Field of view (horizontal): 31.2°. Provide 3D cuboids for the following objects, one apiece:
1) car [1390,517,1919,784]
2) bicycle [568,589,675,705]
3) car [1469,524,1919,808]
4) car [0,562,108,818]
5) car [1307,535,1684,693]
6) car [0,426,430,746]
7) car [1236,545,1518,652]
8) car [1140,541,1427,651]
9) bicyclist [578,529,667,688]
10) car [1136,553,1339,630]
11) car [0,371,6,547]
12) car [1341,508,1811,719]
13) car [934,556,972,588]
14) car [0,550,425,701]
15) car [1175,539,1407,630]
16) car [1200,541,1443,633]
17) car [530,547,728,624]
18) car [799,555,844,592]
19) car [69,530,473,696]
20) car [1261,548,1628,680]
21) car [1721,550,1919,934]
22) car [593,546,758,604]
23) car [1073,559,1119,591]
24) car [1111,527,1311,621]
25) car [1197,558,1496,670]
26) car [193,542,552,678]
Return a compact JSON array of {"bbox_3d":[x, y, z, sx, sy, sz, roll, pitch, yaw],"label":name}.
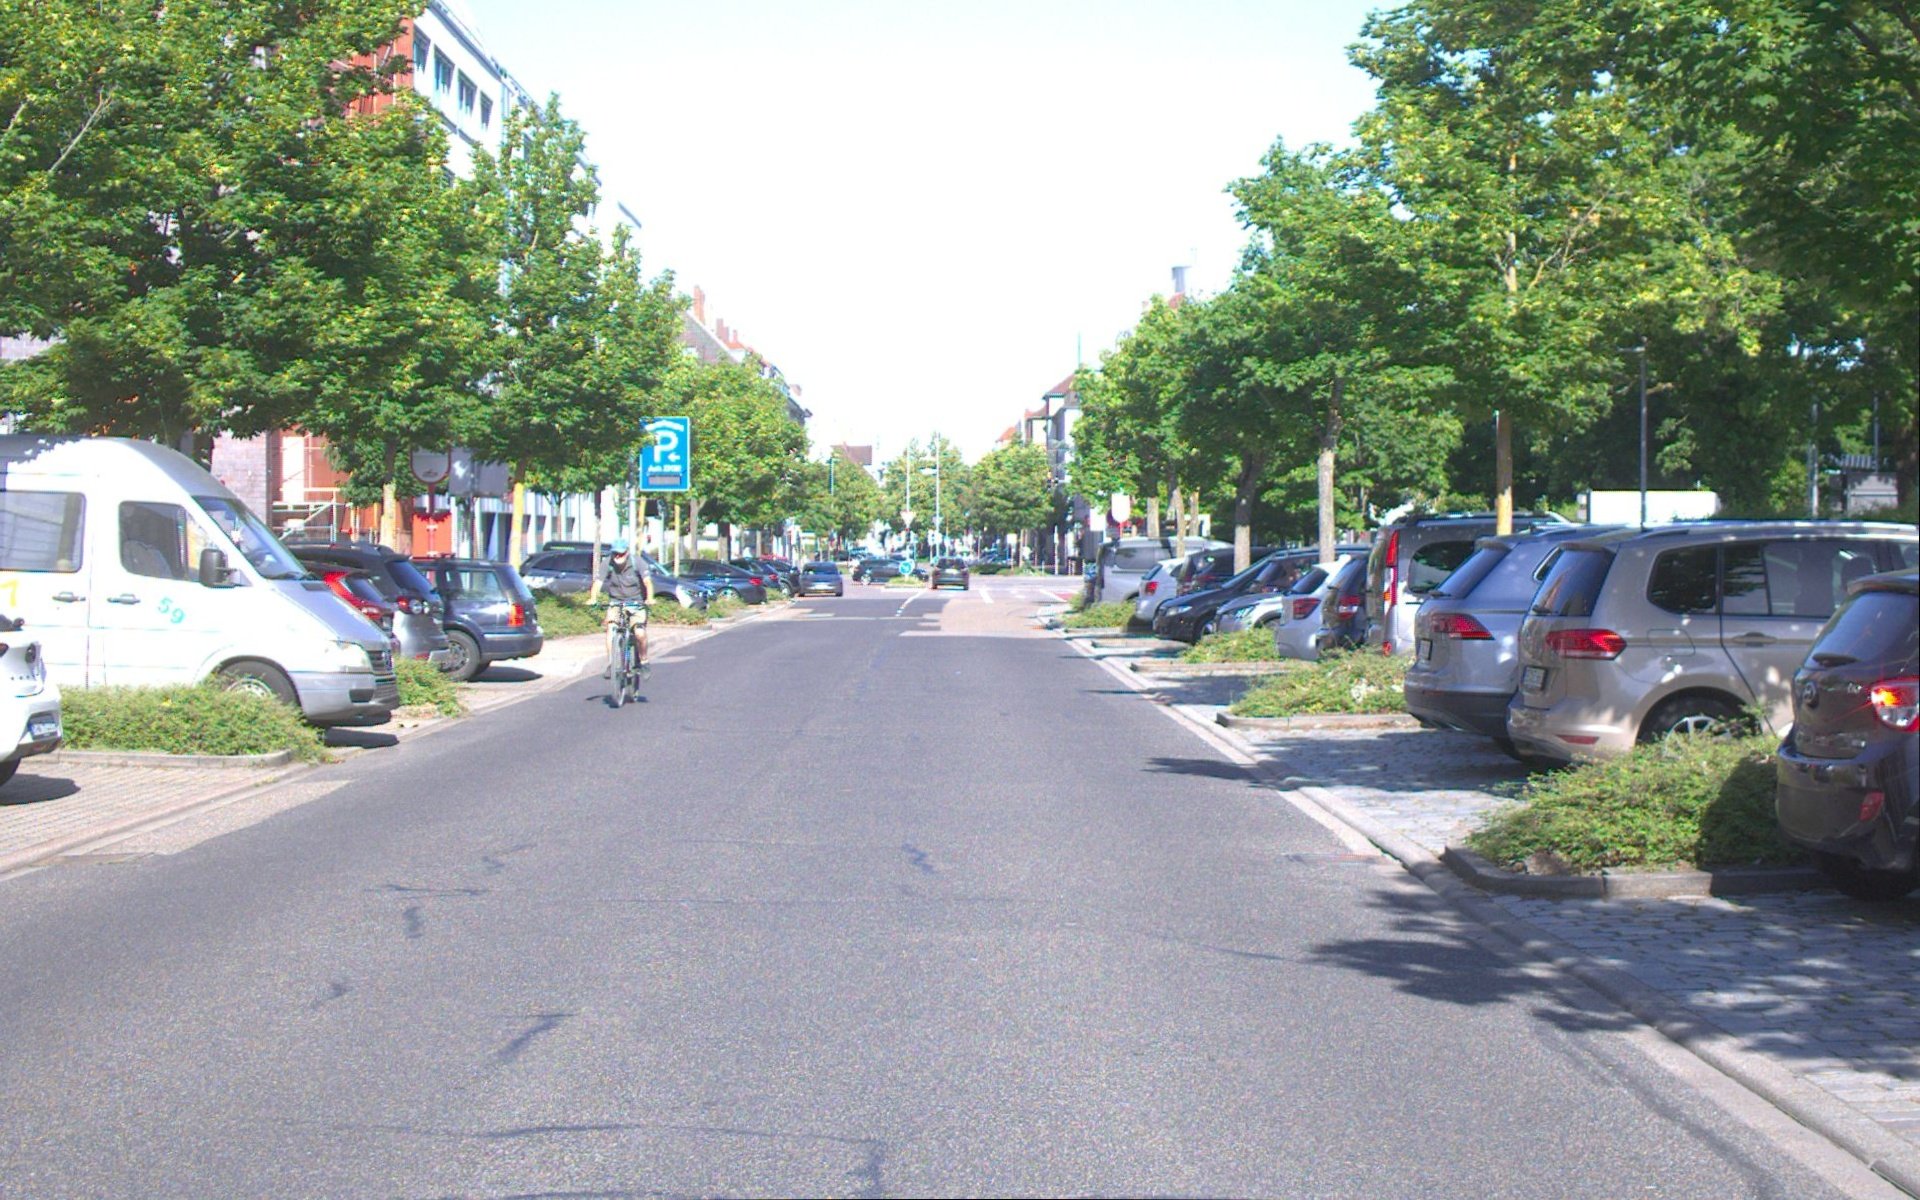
[{"bbox_3d":[5.012,0.304,23.319,3.899,1.689,1.941,0,2,-2],"label":"car"},{"bbox_3d":[-3.416,0.456,34.867,0.698,1.107,2.079,-1,1,5],"label":"bicycle"},{"bbox_3d":[5.429,0.350,20.837,4.319,1.602,1.912,-1,1,-3],"label":"car"},{"bbox_3d":[-7.402,0.467,21.097,3.830,1.467,1.848,2,1,2],"label":"car"},{"bbox_3d":[5.516,0.128,35.699,3.606,1.544,1.707,0,2,-2],"label":"car"},{"bbox_3d":[-7.247,-0.167,27.722,5.551,2.401,1.988,2,1,2],"label":"car"},{"bbox_3d":[6.051,-0.036,50.142,3.861,1.499,1.652,0,1,-2],"label":"car"},{"bbox_3d":[4.885,-0.082,52.239,4.144,1.574,1.741,-1,1,-1],"label":"car"},{"bbox_3d":[-3.420,0.079,34.916,0.683,1.575,1.061,-1,1,5],"label":"bicyclist"},{"bbox_3d":[5.343,-0.173,66.593,3.766,1.454,1.818,0,0,0],"label":"car"},{"bbox_3d":[-7.368,0.004,15.880,5.248,2.410,2.123,2,1,1],"label":"car"},{"bbox_3d":[5.862,0.100,33.077,4.118,1.921,1.979,0,2,-2],"label":"car"},{"bbox_3d":[-0.350,-1.395,170.992,1.812,1.469,4.111,0,2,1],"label":"car"},{"bbox_3d":[-7.660,0.246,35.401,3.987,1.512,1.855,0,1,1],"label":"car"},{"bbox_3d":[5.926,-0.284,61.828,3.987,1.576,2.031,0,0,1],"label":"car"},{"bbox_3d":[6.177,-0.221,59.048,3.987,1.533,1.861,0,0,1],"label":"car"},{"bbox_3d":[-7.368,-0.335,76.761,4.261,1.660,1.599,0,2,-1],"label":"car"},{"bbox_3d":[-5.800,-1.114,144.190,1.811,1.469,4.111,0,2,-1],"label":"car"},{"bbox_3d":[-7.517,0.130,37.742,3.987,1.658,1.828,2,1,3],"label":"car"},{"bbox_3d":[5.627,0.156,40.296,4.062,1.421,1.742,-1,0,2],"label":"car"},{"bbox_3d":[5.113,0.516,14.292,3.452,1.484,1.747,-1,0,-2],"label":"car"},{"bbox_3d":[-7.558,-0.678,91.641,4.330,1.469,1.818,0,2,-3],"label":"car"},{"bbox_3d":[6.909,-1.280,174.760,1.989,1.469,4.111,0,2,-2],"label":"car"},{"bbox_3d":[5.126,-0.546,70.506,3.987,1.873,1.682,0,2,1],"label":"car"},{"bbox_3d":[5.283,0.177,47.343,3.900,1.481,1.743,0,1,-1],"label":"car"},{"bbox_3d":[-7.174,0.106,42.281,4.129,1.487,1.869,2,2,-3],"label":"car"}]
